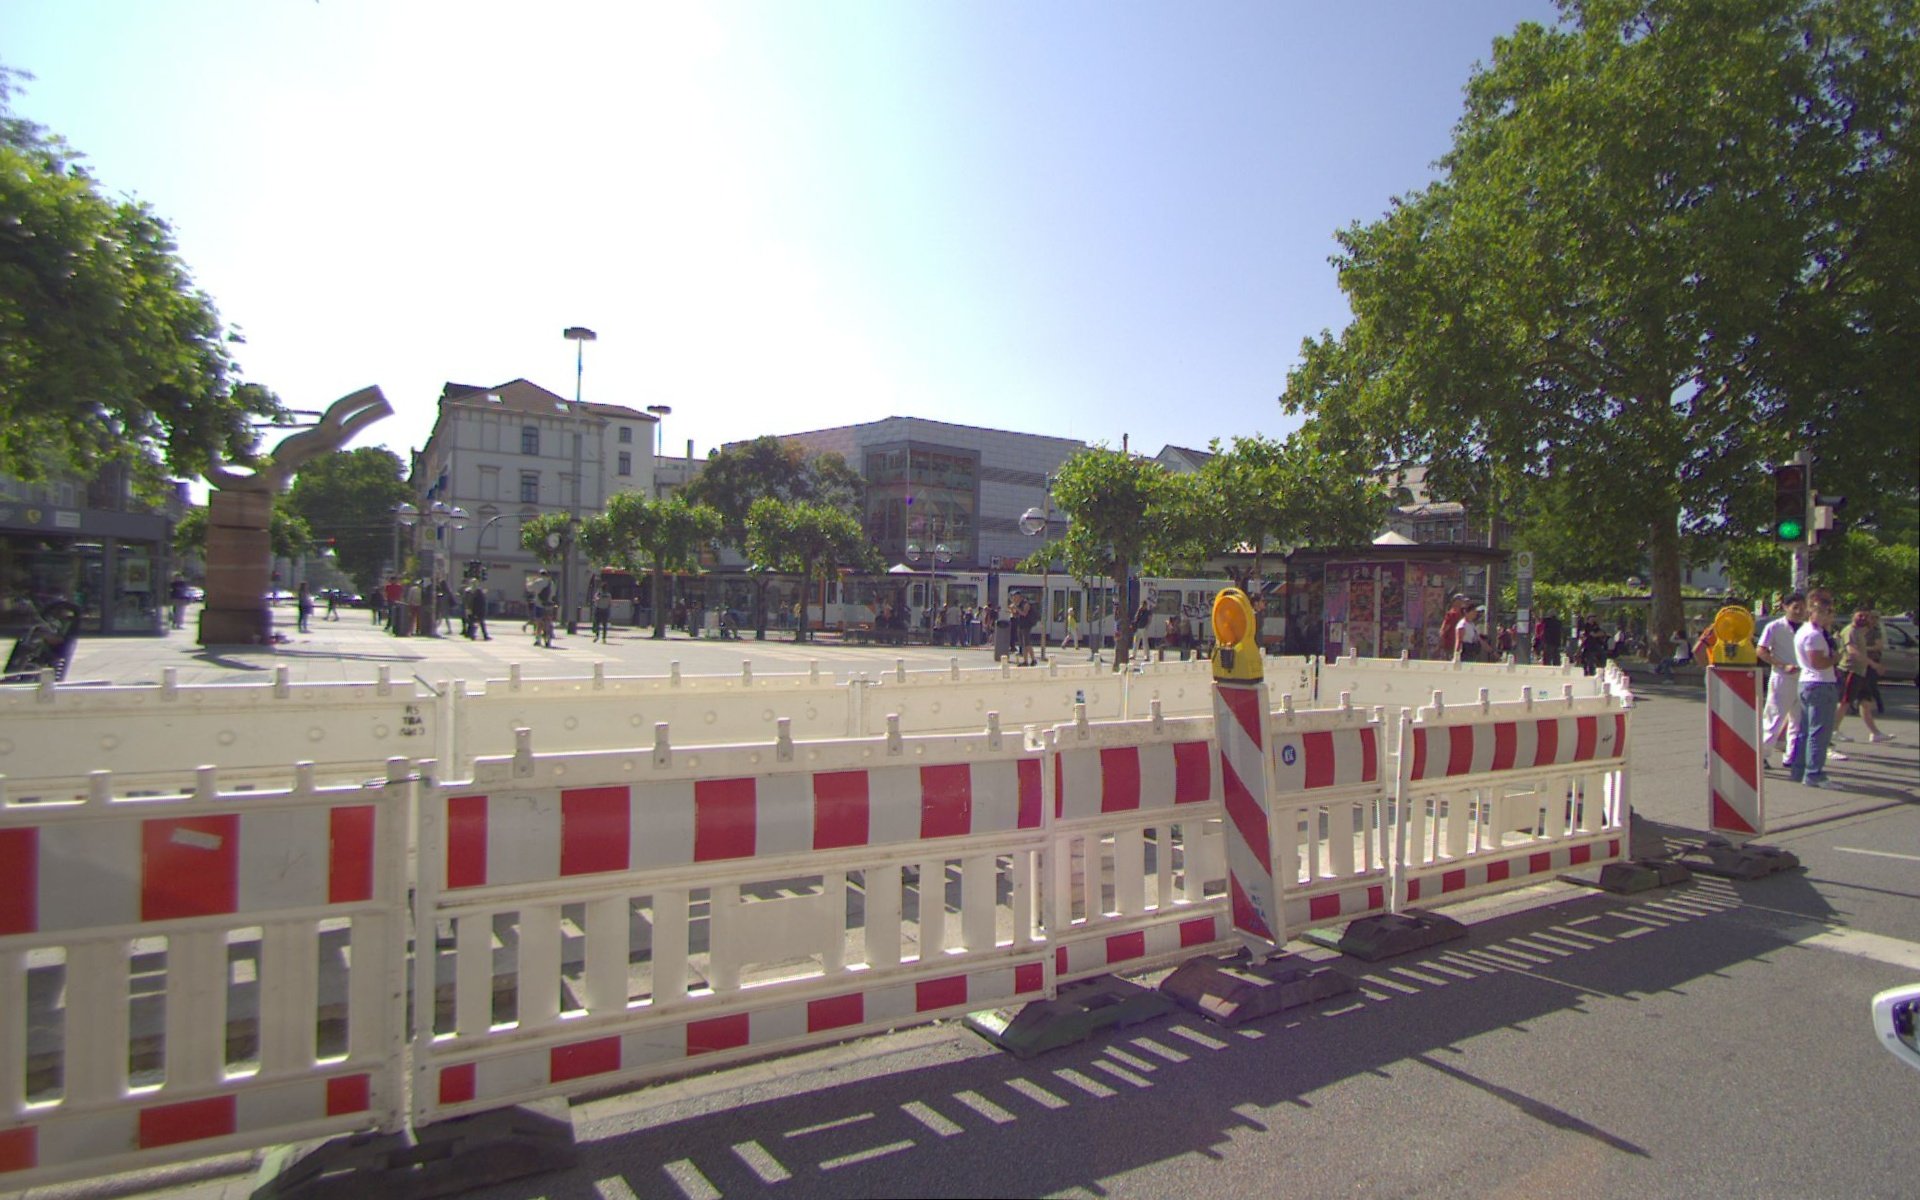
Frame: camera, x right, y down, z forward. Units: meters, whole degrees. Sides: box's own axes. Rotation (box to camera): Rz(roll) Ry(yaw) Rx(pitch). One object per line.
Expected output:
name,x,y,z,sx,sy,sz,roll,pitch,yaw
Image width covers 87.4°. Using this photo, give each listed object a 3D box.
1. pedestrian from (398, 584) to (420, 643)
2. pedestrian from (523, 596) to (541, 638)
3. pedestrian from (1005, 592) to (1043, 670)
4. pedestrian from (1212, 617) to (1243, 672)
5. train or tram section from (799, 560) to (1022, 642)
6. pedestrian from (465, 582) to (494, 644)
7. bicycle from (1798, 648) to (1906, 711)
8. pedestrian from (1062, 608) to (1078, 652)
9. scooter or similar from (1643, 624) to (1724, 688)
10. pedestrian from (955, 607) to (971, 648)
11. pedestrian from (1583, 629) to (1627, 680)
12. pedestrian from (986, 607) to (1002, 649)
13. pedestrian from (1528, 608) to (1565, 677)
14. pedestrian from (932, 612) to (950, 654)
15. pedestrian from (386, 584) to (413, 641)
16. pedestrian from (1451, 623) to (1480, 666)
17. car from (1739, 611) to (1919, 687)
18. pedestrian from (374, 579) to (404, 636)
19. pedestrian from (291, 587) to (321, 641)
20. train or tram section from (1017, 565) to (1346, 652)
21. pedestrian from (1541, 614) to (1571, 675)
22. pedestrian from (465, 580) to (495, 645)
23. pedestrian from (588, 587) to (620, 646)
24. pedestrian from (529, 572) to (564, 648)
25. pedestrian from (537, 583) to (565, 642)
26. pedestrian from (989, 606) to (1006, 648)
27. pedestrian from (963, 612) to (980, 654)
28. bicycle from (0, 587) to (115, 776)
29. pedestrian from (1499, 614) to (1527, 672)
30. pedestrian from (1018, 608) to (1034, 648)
pedestrian,-16.763,0.399,30.550,0.498,1.773,0.540,2,1,-35
pedestrian,-17.163,0.682,40.314,0.598,1.660,0.571,2,1,-25
pedestrian,1.483,0.714,23.454,0.788,1.773,0.606,2,1,2
pedestrian,6.393,1.047,24.033,0.599,1.279,0.613,1,0,6
train or tram section,-2.387,0.050,50.067,10.779,3.726,2.623,1,0,5
pedestrian,-14.038,0.387,29.368,0.600,1.773,0.796,2,1,-35
bicycle,15.428,1.366,17.364,1.903,1.042,0.489,1,0,-18
pedestrian,4.514,1.216,41.298,0.594,1.772,0.747,1,0,9
scooter or similar,17.416,1.333,24.225,1.018,1.439,1.281,2,0,1
pedestrian,0.133,1.196,44.132,0.594,1.772,0.747,1,0,9
pedestrian,16.937,1.427,26.376,0.717,1.310,0.634,2,0,-9
pedestrian,1.474,1.204,43.631,0.594,1.772,0.747,1,0,9
pedestrian,15.761,1.139,26.995,0.604,1.833,0.634,2,-2,-10
pedestrian,-0.821,1.424,43.815,0.594,1.772,0.747,1,0,9
pedestrian,-16.575,0.373,29.701,0.600,1.643,0.796,2,1,-35
pedestrian,18.509,1.627,36.787,0.598,1.534,0.742,1,0,-24
car,25.015,1.367,28.535,4.674,1.981,1.862,2,0,-9
pedestrian,-18.247,0.247,32.103,0.792,1.773,0.602,3,1,44
pedestrian,-20.405,0.429,31.342,0.566,1.660,0.603,3,1,41
train or tram section,10.487,0.375,48.856,15.233,3.726,2.623,1,0,5
pedestrian,16.604,1.238,27.977,0.516,1.678,0.513,2,-2,-10
pedestrian,-13.255,0.342,27.730,0.600,1.773,0.796,2,1,-35
pedestrian,-9.784,0.448,27.618,0.600,1.582,0.796,2,1,-35
pedestrian,-10.169,0.236,24.693,0.600,1.822,0.796,2,1,-35
pedestrian,-12.586,0.395,30.904,0.600,1.773,0.796,2,1,-35
pedestrian,1.645,1.177,43.741,0.594,1.772,0.747,1,0,9
pedestrian,0.485,1.387,42.837,0.594,1.772,0.747,1,0,9
bicycle,-7.615,0.608,8.285,0.733,1.366,1.771,1,1,-32
pedestrian,15.909,1.237,28.917,0.489,1.624,0.500,2,-2,-10
pedestrian,2.969,1.255,44.942,0.594,1.772,0.804,1,0,9
